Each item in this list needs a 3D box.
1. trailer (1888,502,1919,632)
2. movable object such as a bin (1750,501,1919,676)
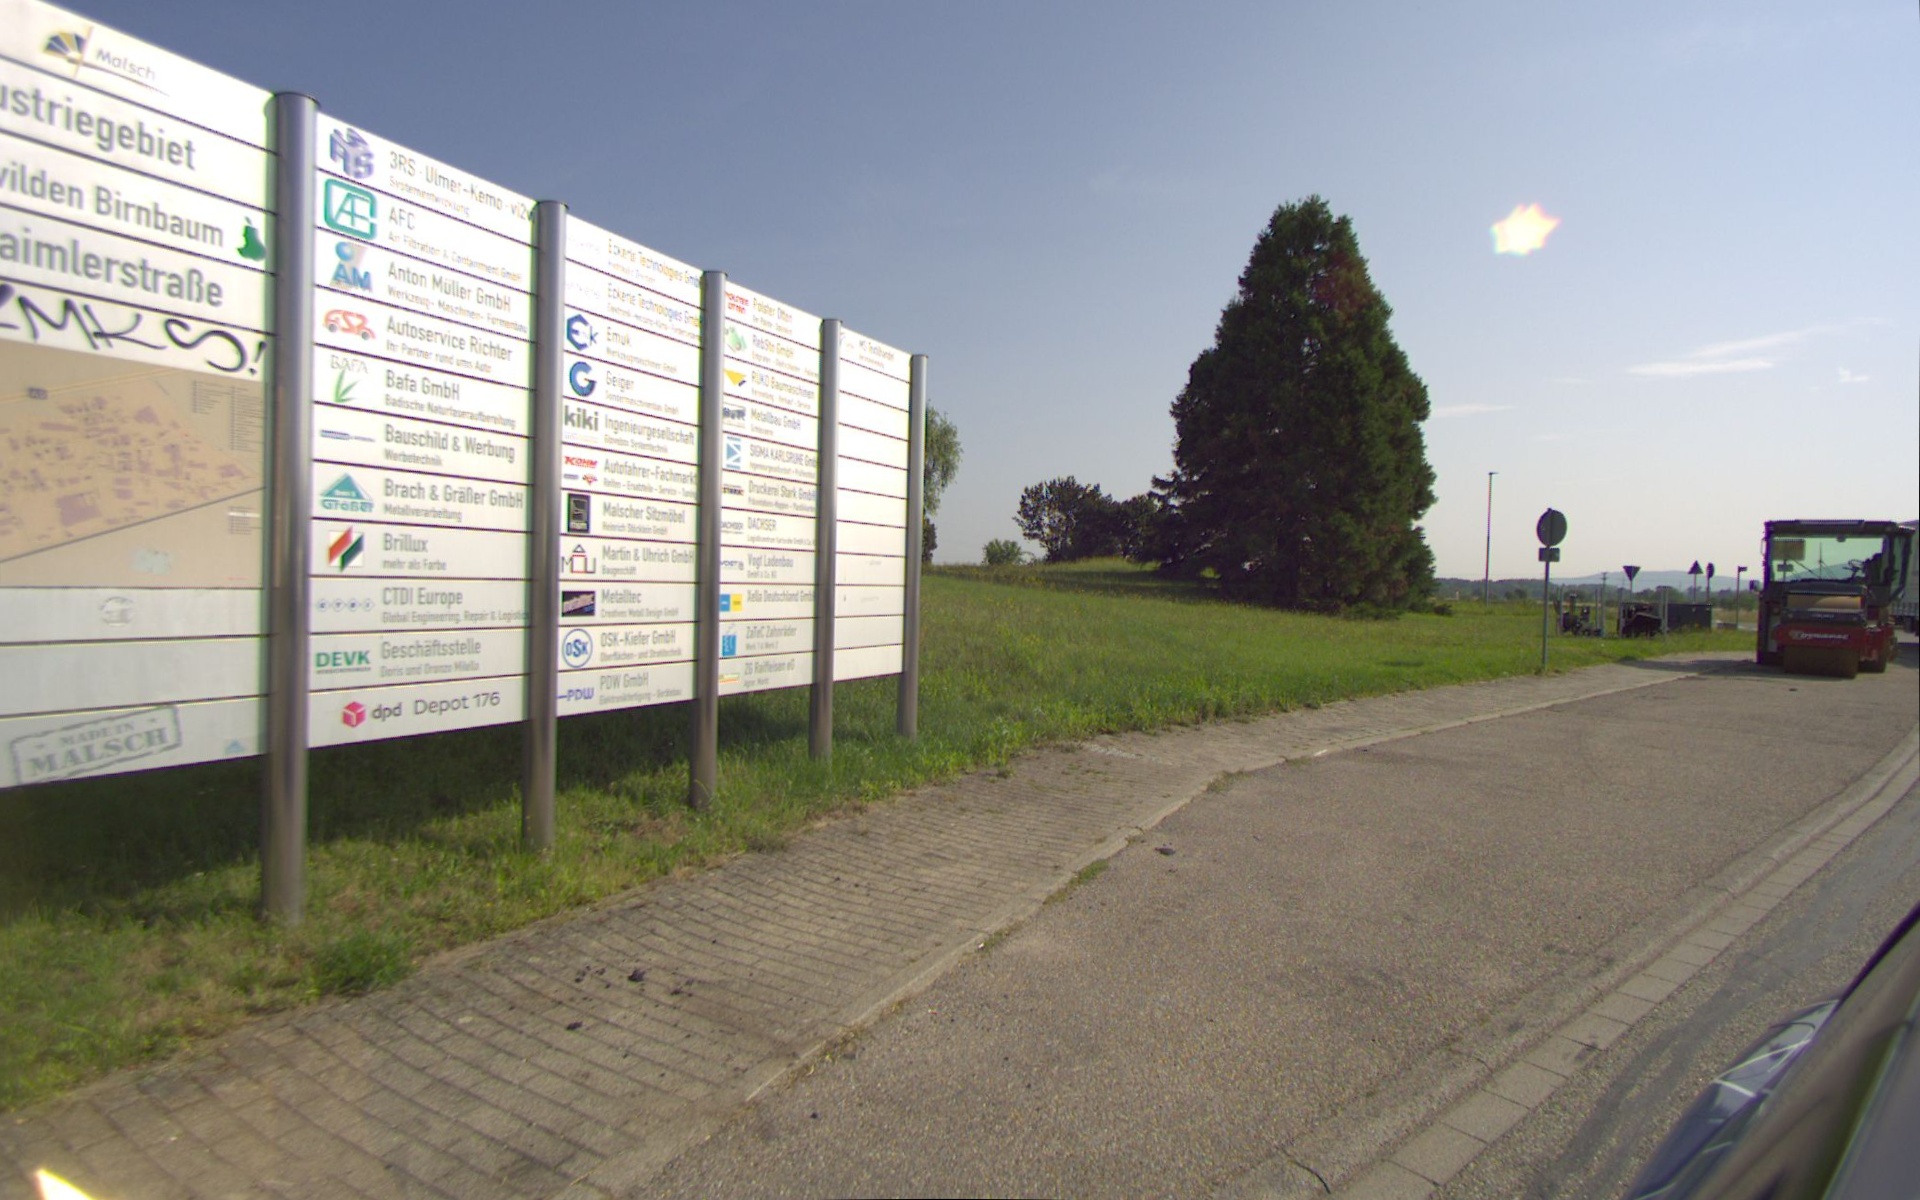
[{"bbox_3d":[31.174,-1.036,28.955,3.468,4.260,14.090,-1,0,29],"label":"trailer"},{"bbox_3d":[17.868,-0.285,20.469,2.428,3.048,5.666,4,3,42],"label":"movable object such as a bin"}]
